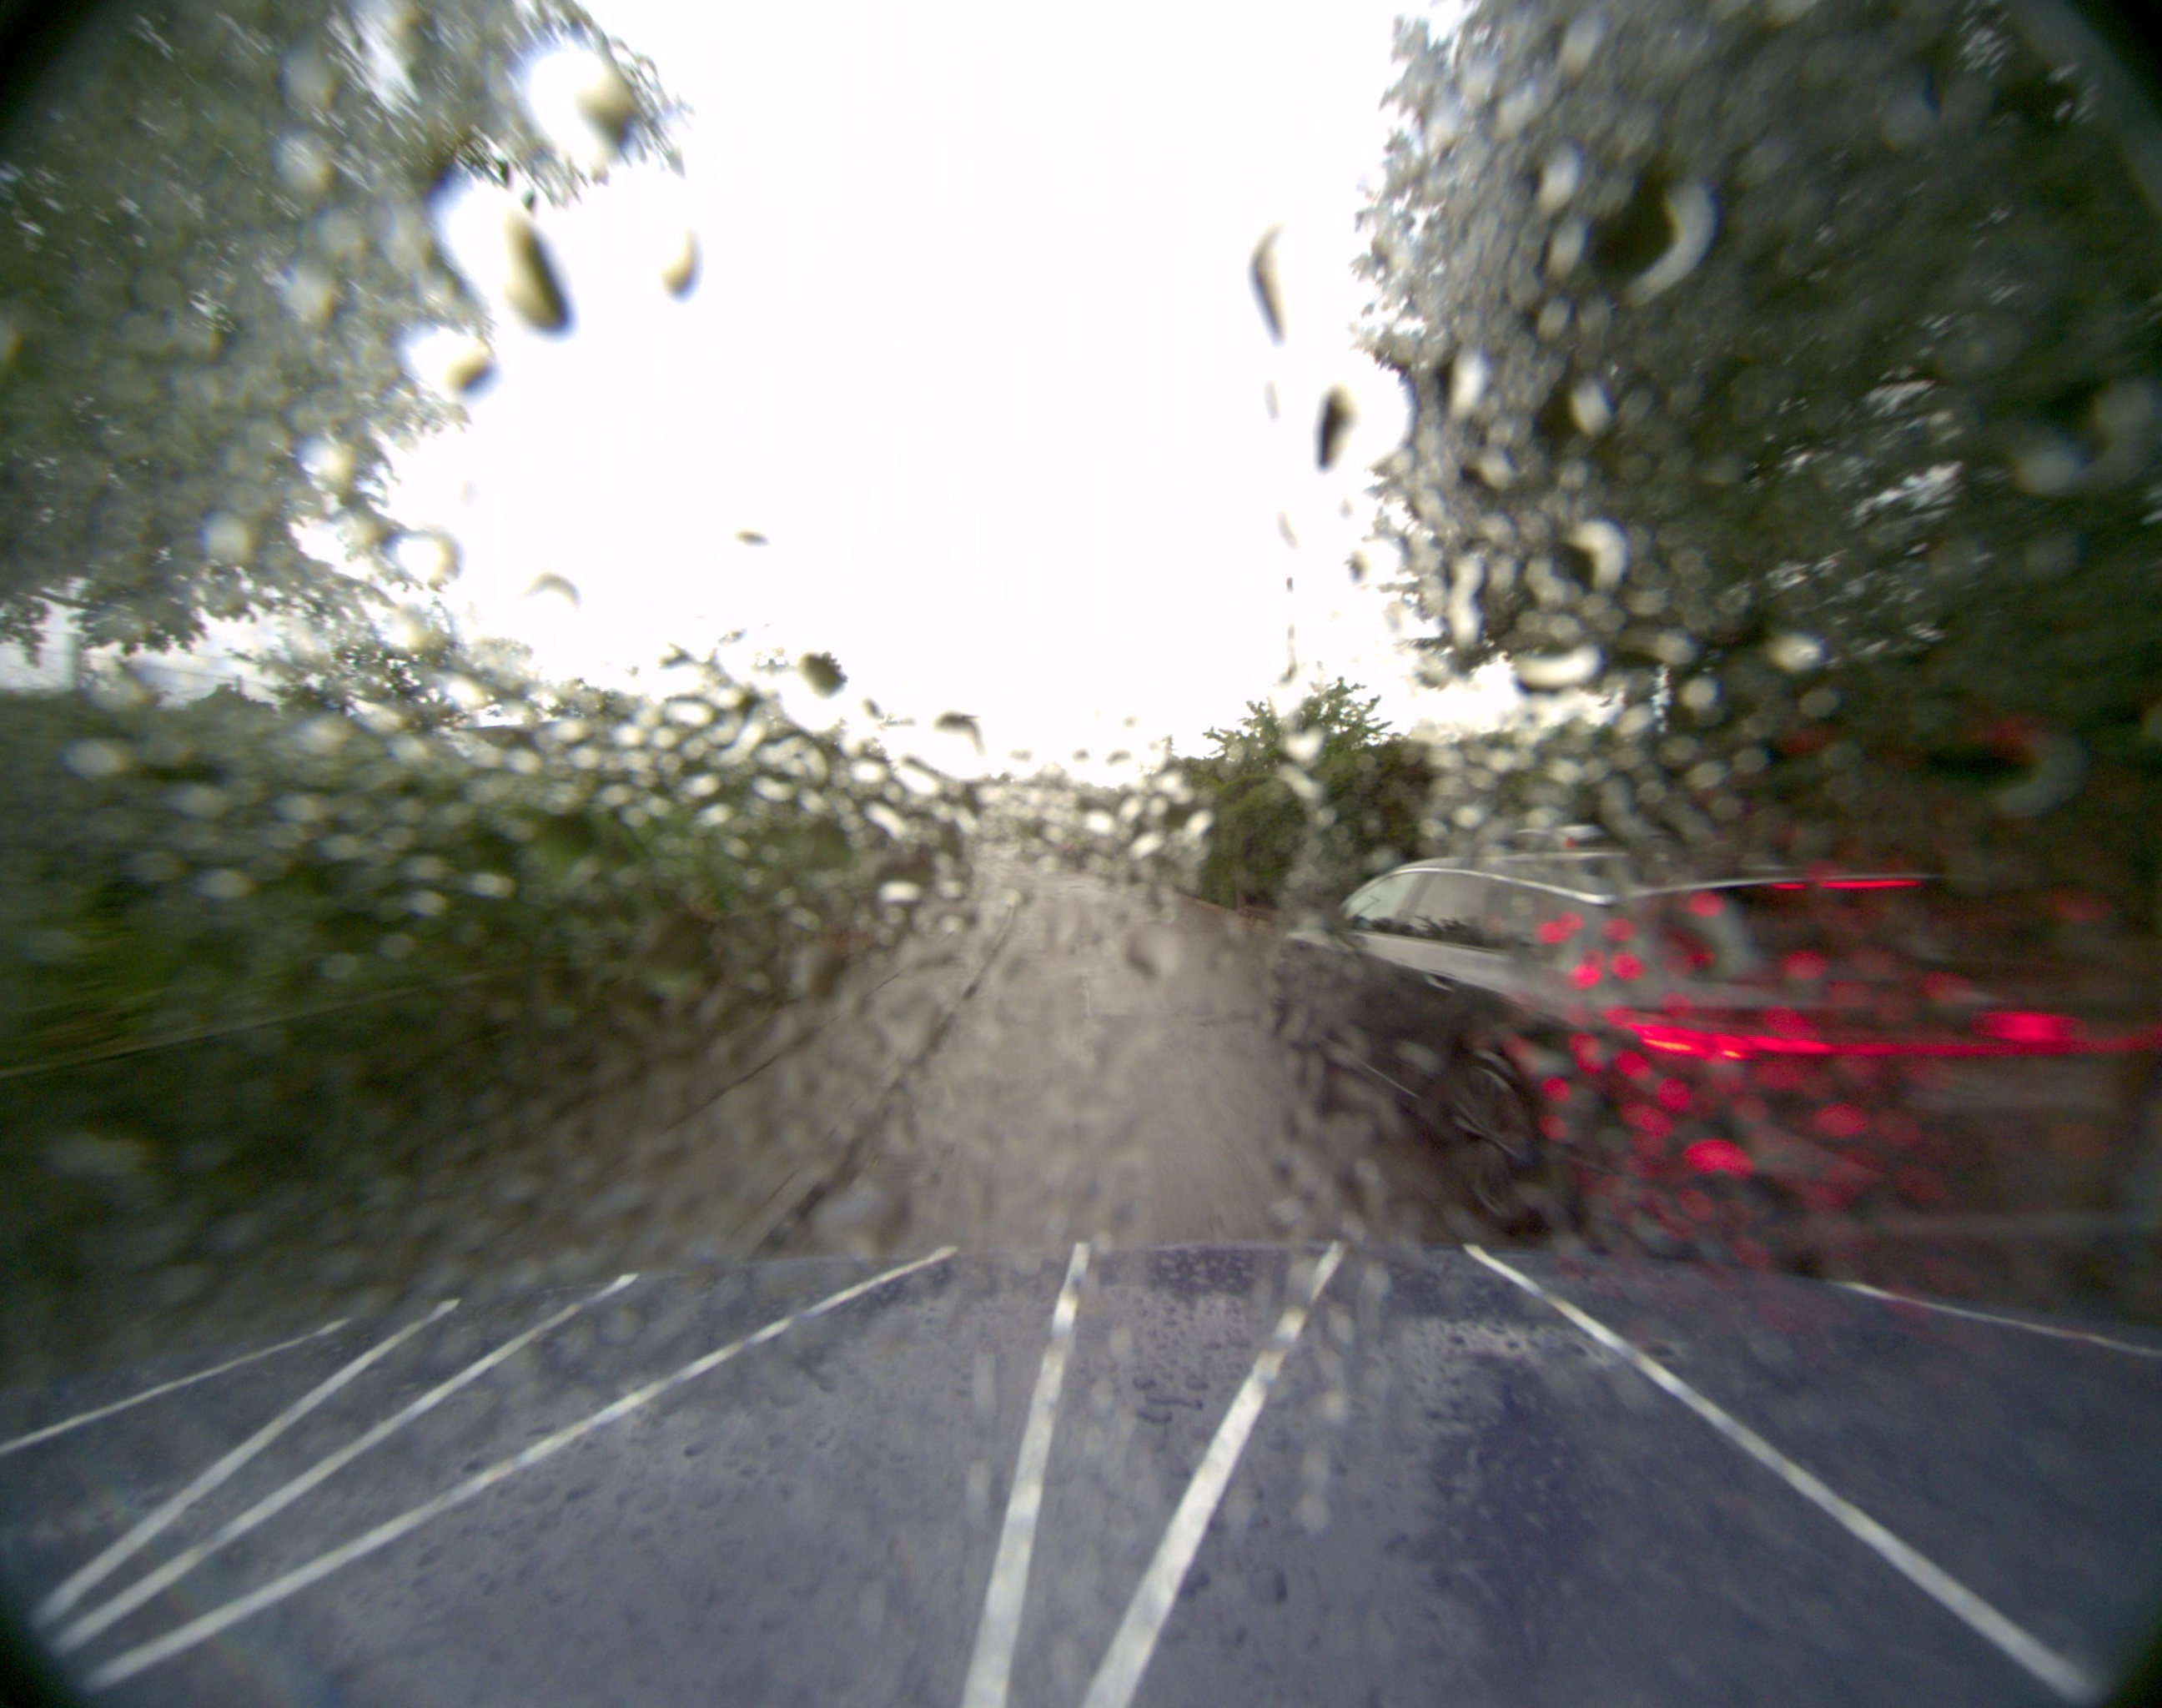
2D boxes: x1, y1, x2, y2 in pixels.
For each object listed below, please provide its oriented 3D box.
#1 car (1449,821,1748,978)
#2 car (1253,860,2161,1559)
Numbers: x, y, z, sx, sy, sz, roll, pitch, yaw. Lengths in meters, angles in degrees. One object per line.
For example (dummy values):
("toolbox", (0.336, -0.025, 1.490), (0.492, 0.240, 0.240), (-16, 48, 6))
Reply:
("car", (6.492, 0.437, 10.081), (1.787, 1.518, 3.657), (-6, 2, 9))
("car", (2.439, 0.859, 4.025), (1.894, 1.514, 4.420), (-3, 0, -1))
